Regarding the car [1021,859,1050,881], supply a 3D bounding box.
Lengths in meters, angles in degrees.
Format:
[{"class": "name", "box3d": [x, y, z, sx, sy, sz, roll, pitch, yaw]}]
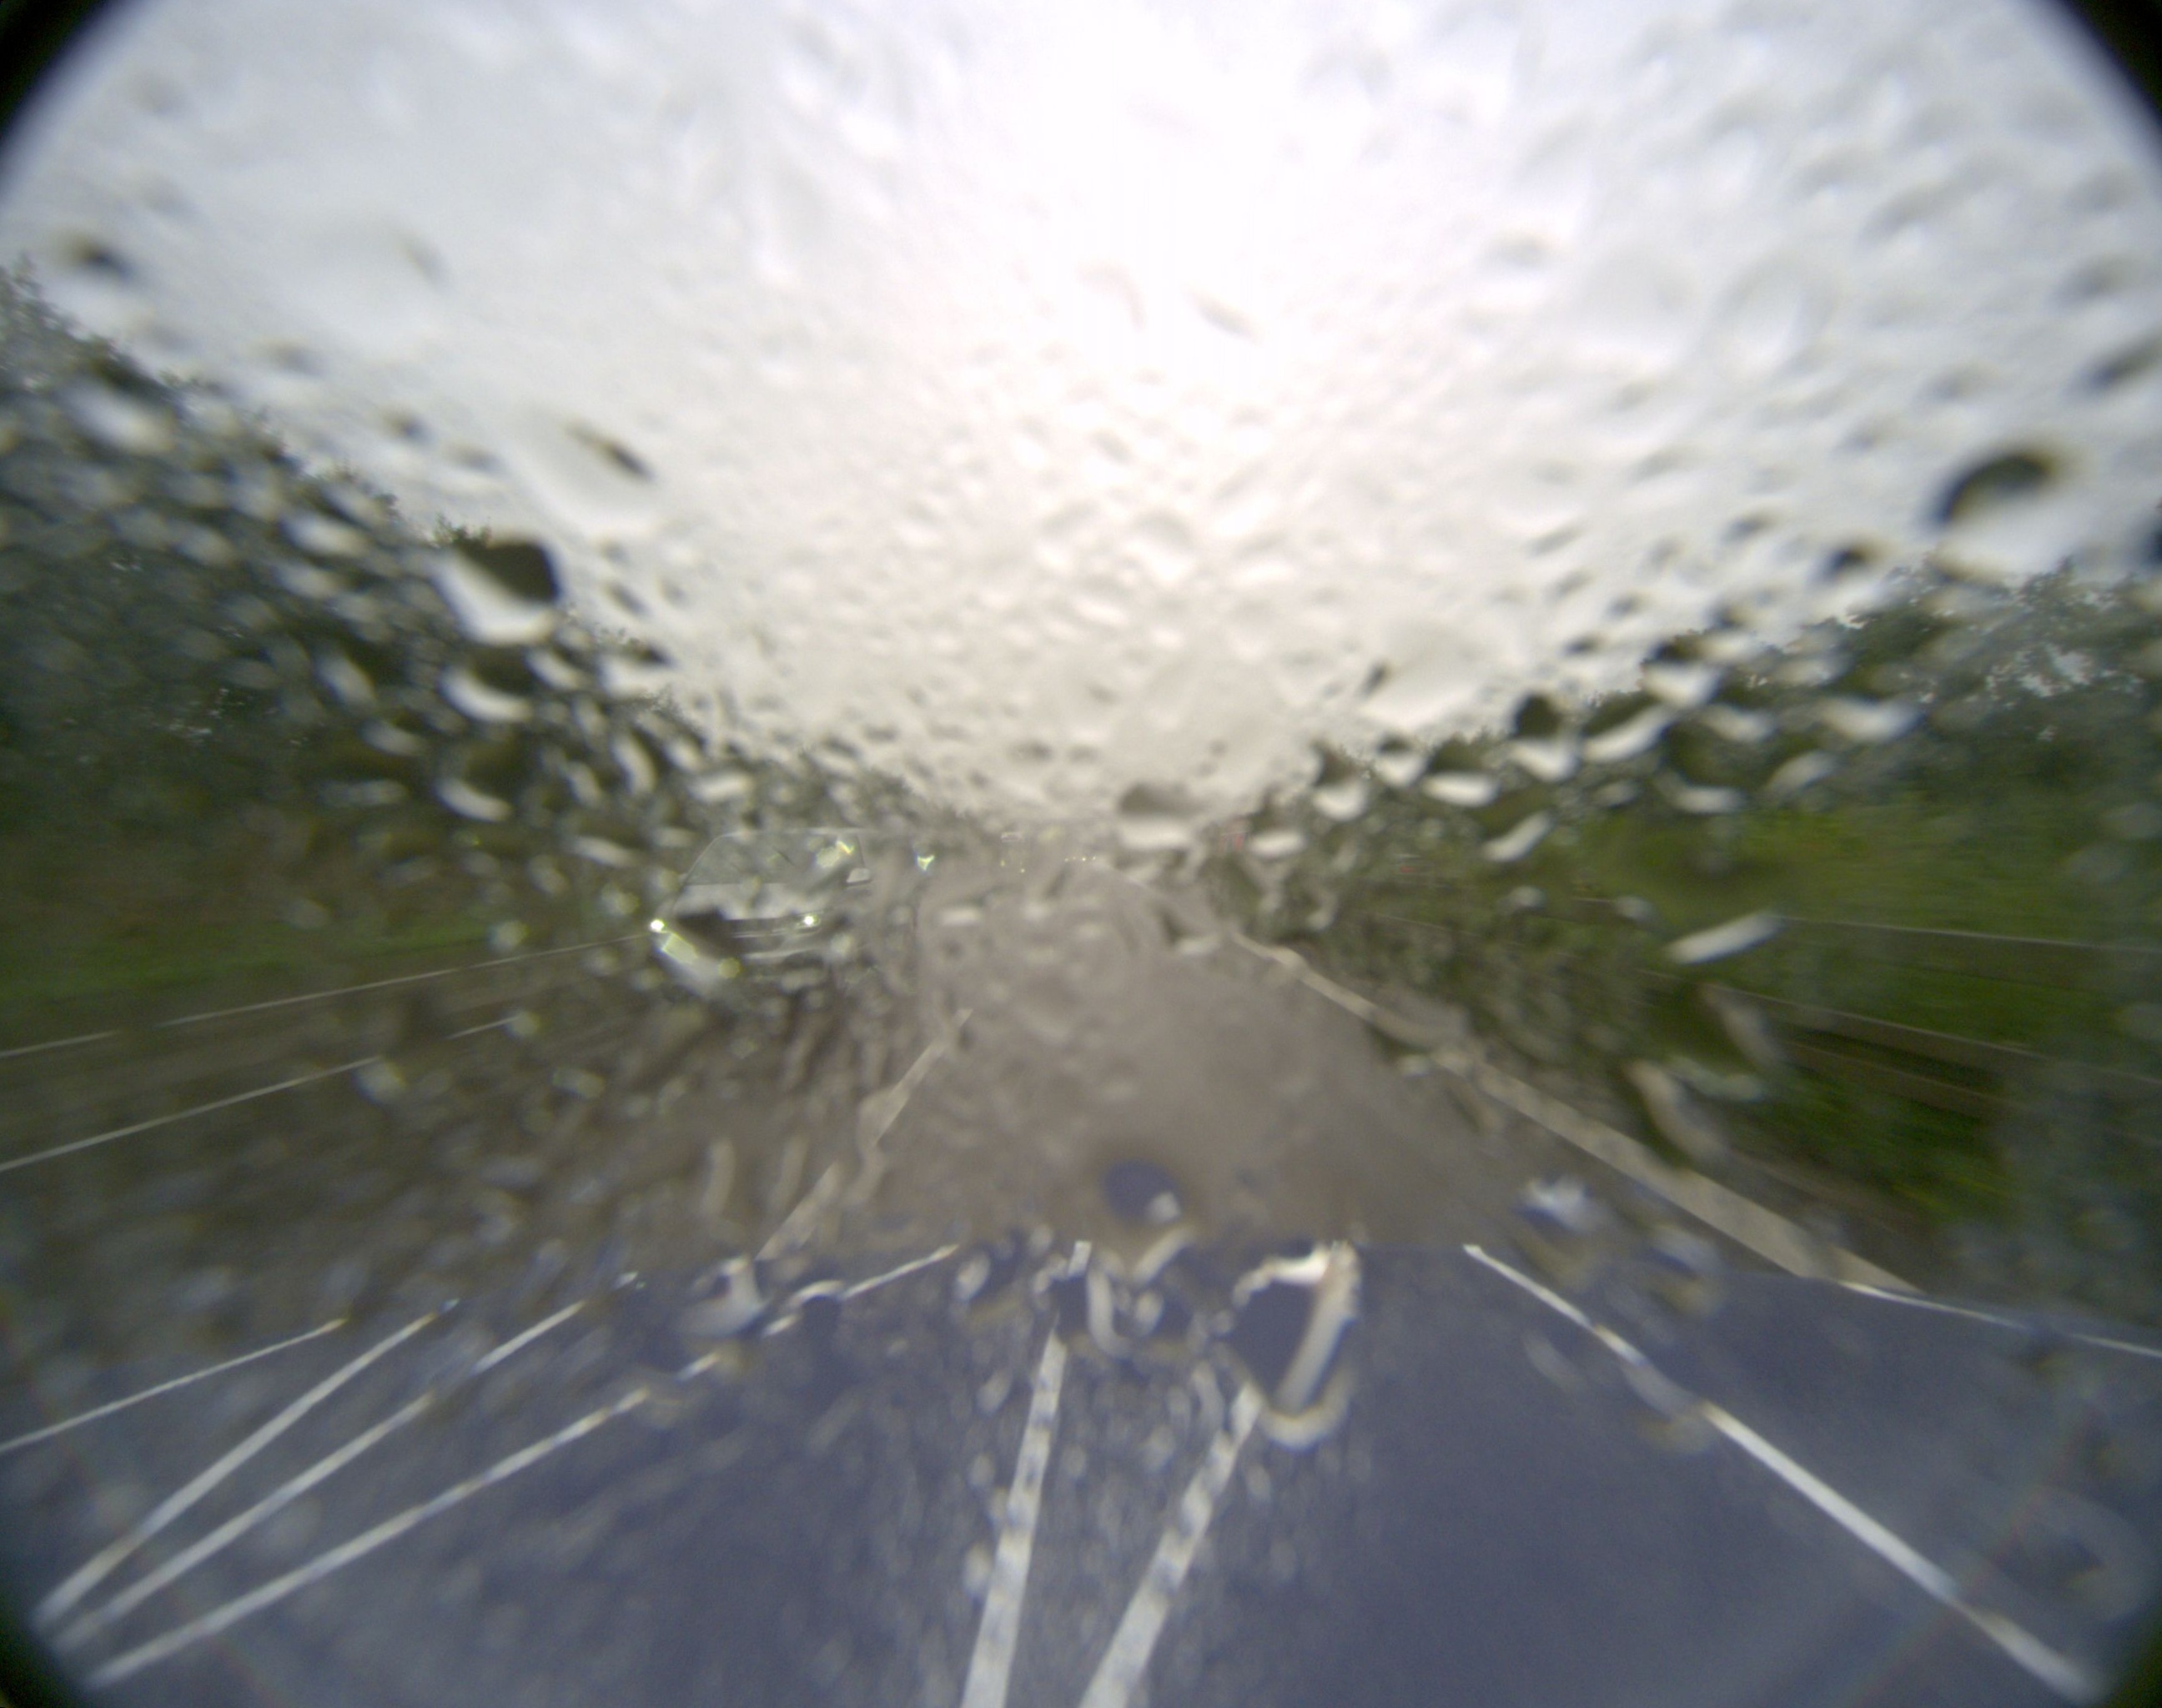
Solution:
[{"class": "car", "box3d": [-3.246, 1.104, 55.203, 1.769, 1.448, 3.959, -1, 0, 1]}]

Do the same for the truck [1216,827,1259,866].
[{"class": "truck", "box3d": [18.513, -0.878, 90.593, 2.704, 4.206, 11.352, -2, 0, 0]}]

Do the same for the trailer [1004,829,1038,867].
[{"class": "trailer", "box3d": [-6.856, -0.697, 88.830, 2.618, 4.064, 13.790, -1, 0, 1]}]

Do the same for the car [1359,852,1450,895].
[{"class": "car", "box3d": [13.688, 0.755, 32.487, 1.800, 1.673, 4.958, 0, 0, 1]}]

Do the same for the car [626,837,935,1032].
[{"class": "car", "box3d": [-3.426, 0.780, 9.949, 1.892, 1.873, 5.009, -1, 0, 1]}]

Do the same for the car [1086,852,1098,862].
[{"class": "car", "box3d": [1.638, 0.464, 116.123, 1.769, 1.448, 3.959, -1, 0, 1]}]

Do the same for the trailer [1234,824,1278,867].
[{"class": "trailer", "box3d": [18.460, -0.899, 80.634, 2.704, 4.206, 8.488, -2, 1, 0]}]

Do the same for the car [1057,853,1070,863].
[{"class": "car", "box3d": [-2.772, 0.643, 121.395, 1.769, 1.448, 3.959, -1, 0, 1]}]

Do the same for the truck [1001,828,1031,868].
[{"class": "truck", "box3d": [-6.927, -0.665, 81.589, 2.618, 4.064, 5.238, -1, 1, 1]}]
